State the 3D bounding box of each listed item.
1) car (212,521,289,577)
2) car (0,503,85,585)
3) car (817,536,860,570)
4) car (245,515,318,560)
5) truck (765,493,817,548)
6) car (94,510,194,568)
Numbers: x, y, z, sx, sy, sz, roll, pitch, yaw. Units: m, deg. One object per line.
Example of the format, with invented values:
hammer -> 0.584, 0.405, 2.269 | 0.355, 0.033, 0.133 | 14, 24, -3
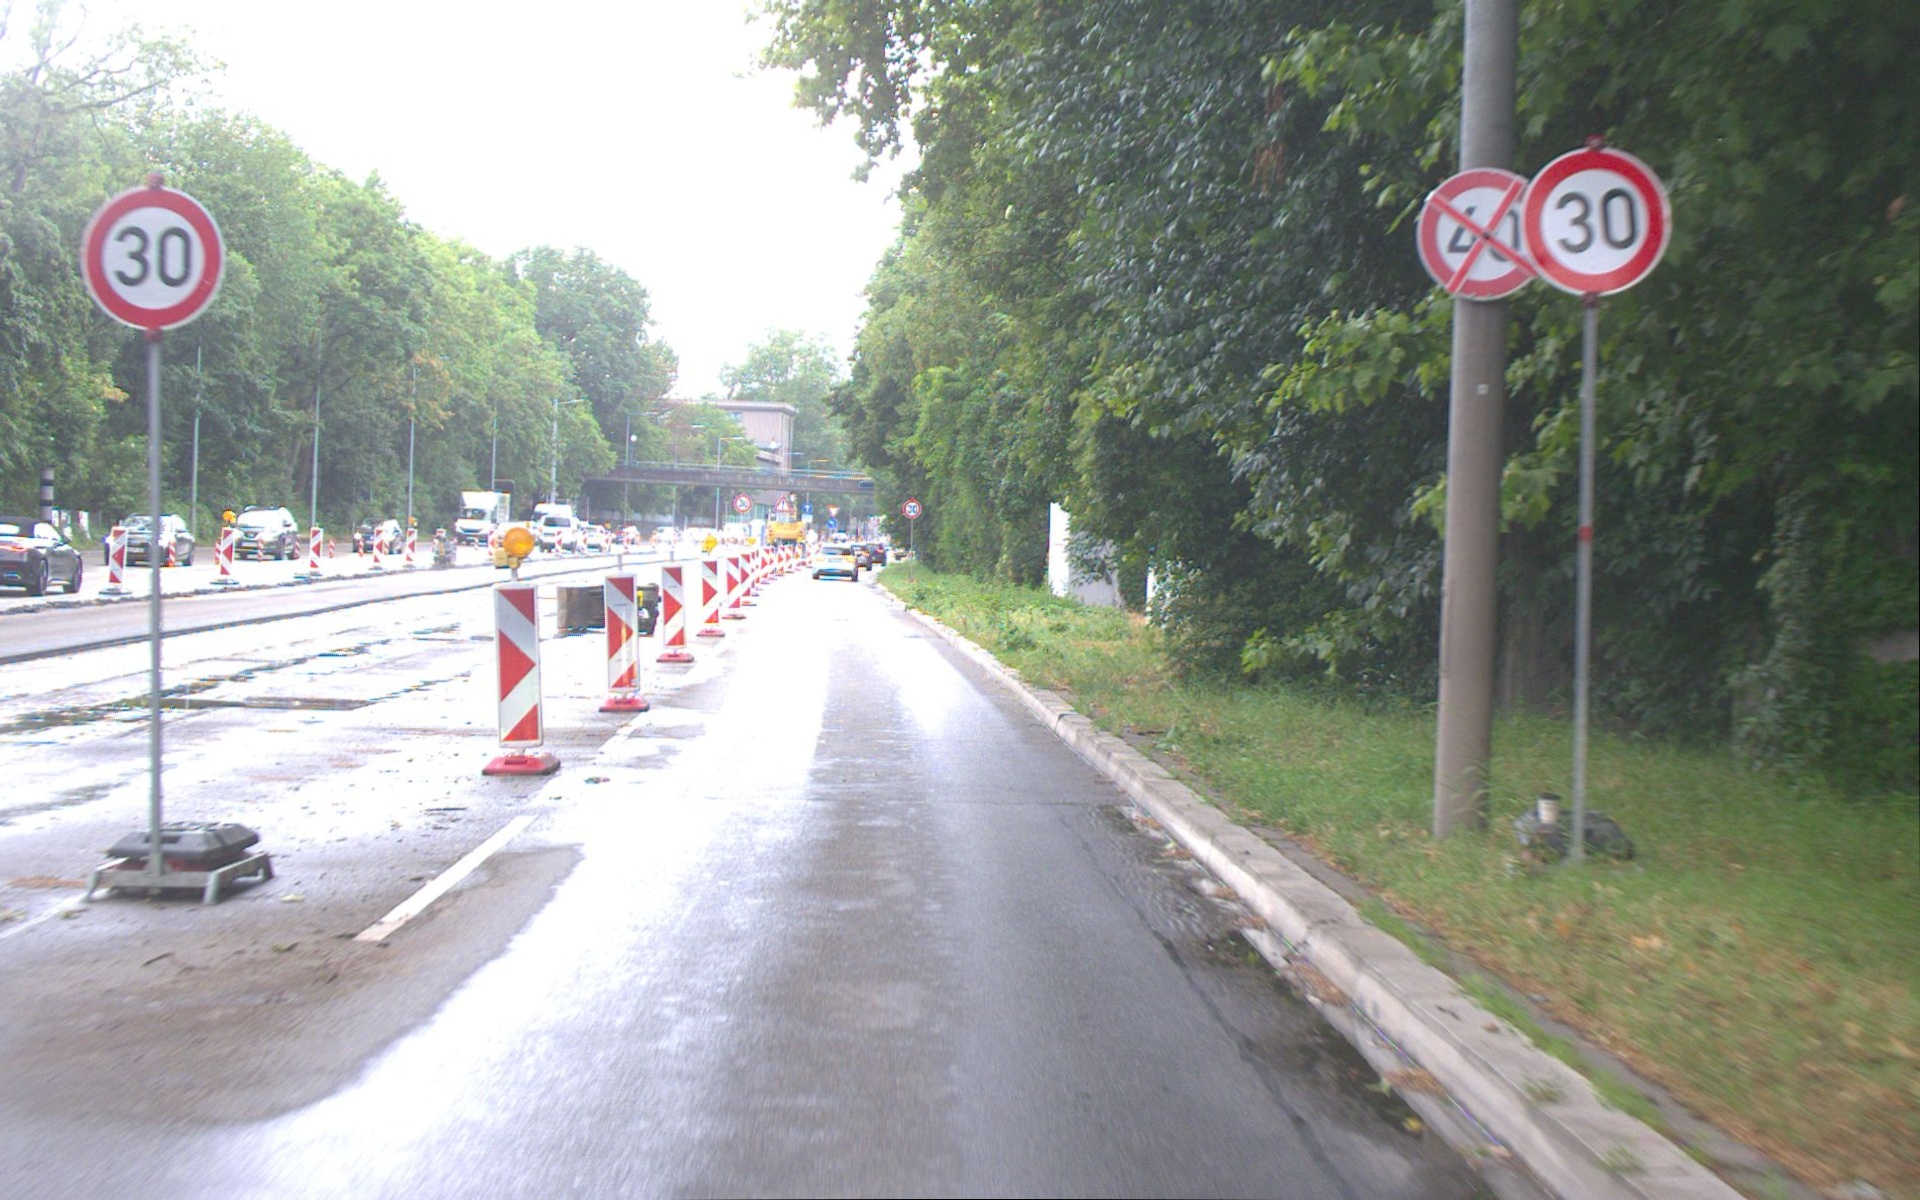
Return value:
car -> -22.965, -1.662, 111.387 | 1.734, 1.716, 4.494 | 2, 1, -3
car -> -17.146, -1.033, 62.404 | 1.607, 1.399, 4.041 | 2, 1, -2
car -> -4.876, -1.898, 137.873 | 1.697, 1.331, 3.491 | 0, 1, -2
car -> -23.462, -2.174, 119.075 | 1.760, 1.478, 4.901 | 2, 1, -3
truck -> -11.438, -5.429, 233.963 | 3.259, 3.485, 13.872 | 2, 1, -2
car -> -22.313, -1.681, 94.171 | 1.760, 1.478, 4.901 | 2, 1, -3
